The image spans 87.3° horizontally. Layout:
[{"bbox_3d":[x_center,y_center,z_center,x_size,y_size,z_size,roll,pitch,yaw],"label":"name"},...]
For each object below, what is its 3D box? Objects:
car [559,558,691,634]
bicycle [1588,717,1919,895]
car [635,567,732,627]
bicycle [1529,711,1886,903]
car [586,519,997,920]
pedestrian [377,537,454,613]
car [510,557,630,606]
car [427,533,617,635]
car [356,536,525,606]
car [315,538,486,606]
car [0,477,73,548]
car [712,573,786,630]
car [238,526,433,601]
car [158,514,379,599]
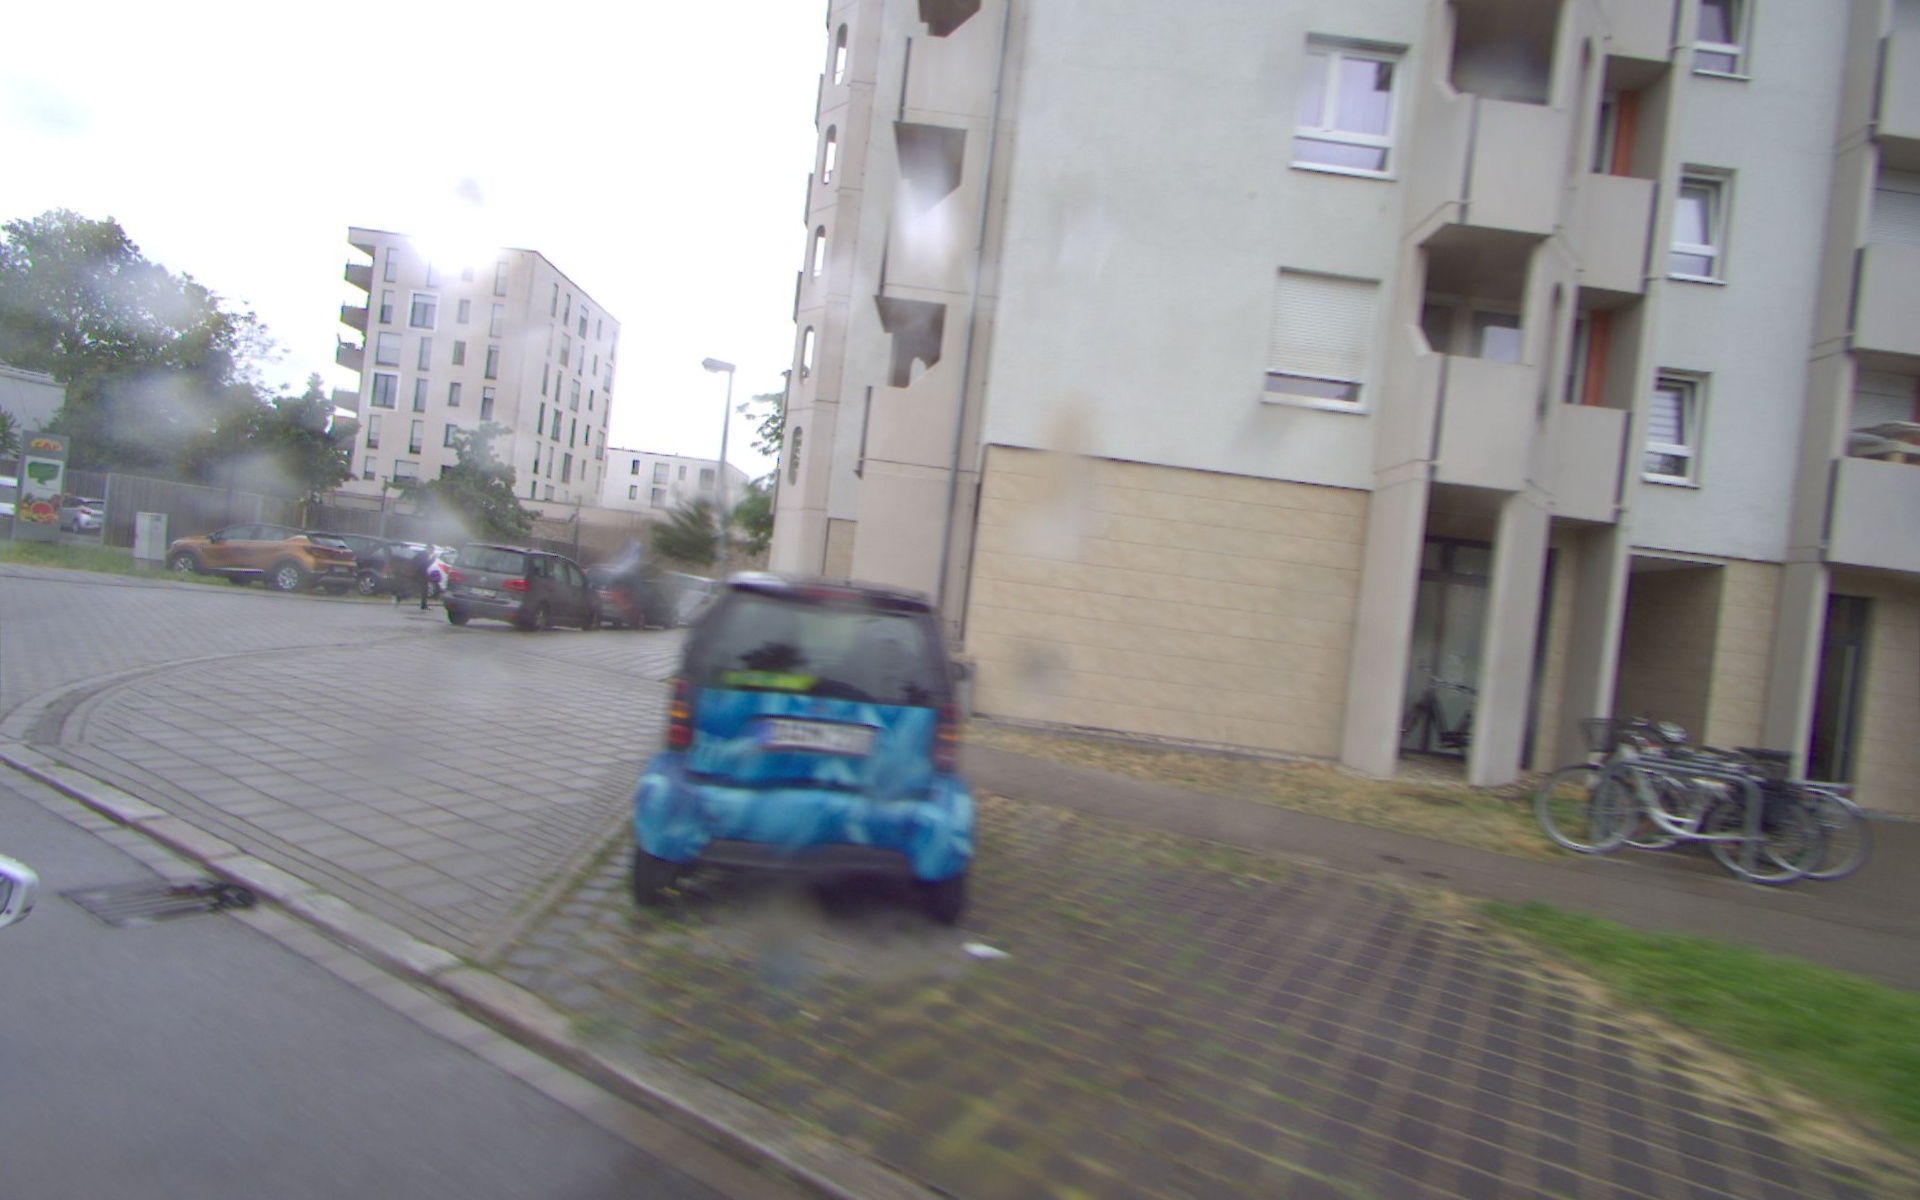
[{"bbox_3d":[-8.554,-0.026,26.106,1.781,1.551,4.116,8,-2,2],"label":"car"},{"bbox_3d":[6.388,1.616,8.229,2.024,1.018,0.662,6,-1,32],"label":"bicycle"},{"bbox_3d":[-8.648,-0.044,31.815,1.781,1.491,3.800,8,-2,2],"label":"car"},{"bbox_3d":[5.549,1.496,7.650,2.024,1.018,0.662,6,-1,32],"label":"bicycle"},{"bbox_3d":[-0.877,0.528,5.538,1.575,1.567,2.561,6,0,-8],"label":"car"},{"bbox_3d":[-12.088,-0.541,22.350,1.074,1.535,0.838,6,-1,2],"label":"pedestrian"},{"bbox_3d":[-16.834,-0.771,43.575,4.282,1.448,1.971,8,-1,3],"label":"car"},{"bbox_3d":[-8.726,-0.224,20.480,1.781,1.635,4.116,8,-2,2],"label":"car"},{"bbox_3d":[-16.784,-0.911,32.672,4.284,1.606,1.969,8,-1,-2],"label":"car"},{"bbox_3d":[-16.756,-0.822,30.263,3.924,1.458,2.002,7,-1,4],"label":"car"},{"bbox_3d":[-28.884,-2.771,30.369,4.819,1.805,1.965,7,-1,35],"label":"car"},{"bbox_3d":[-8.580,0.108,41.361,1.958,1.940,4.280,8,-2,0],"label":"car"},{"bbox_3d":[-16.801,-0.956,27.202,3.924,1.458,2.002,7,-1,4],"label":"car"},{"bbox_3d":[-16.759,-1.021,24.511,3.924,1.458,2.002,7,-1,4],"label":"car"}]
